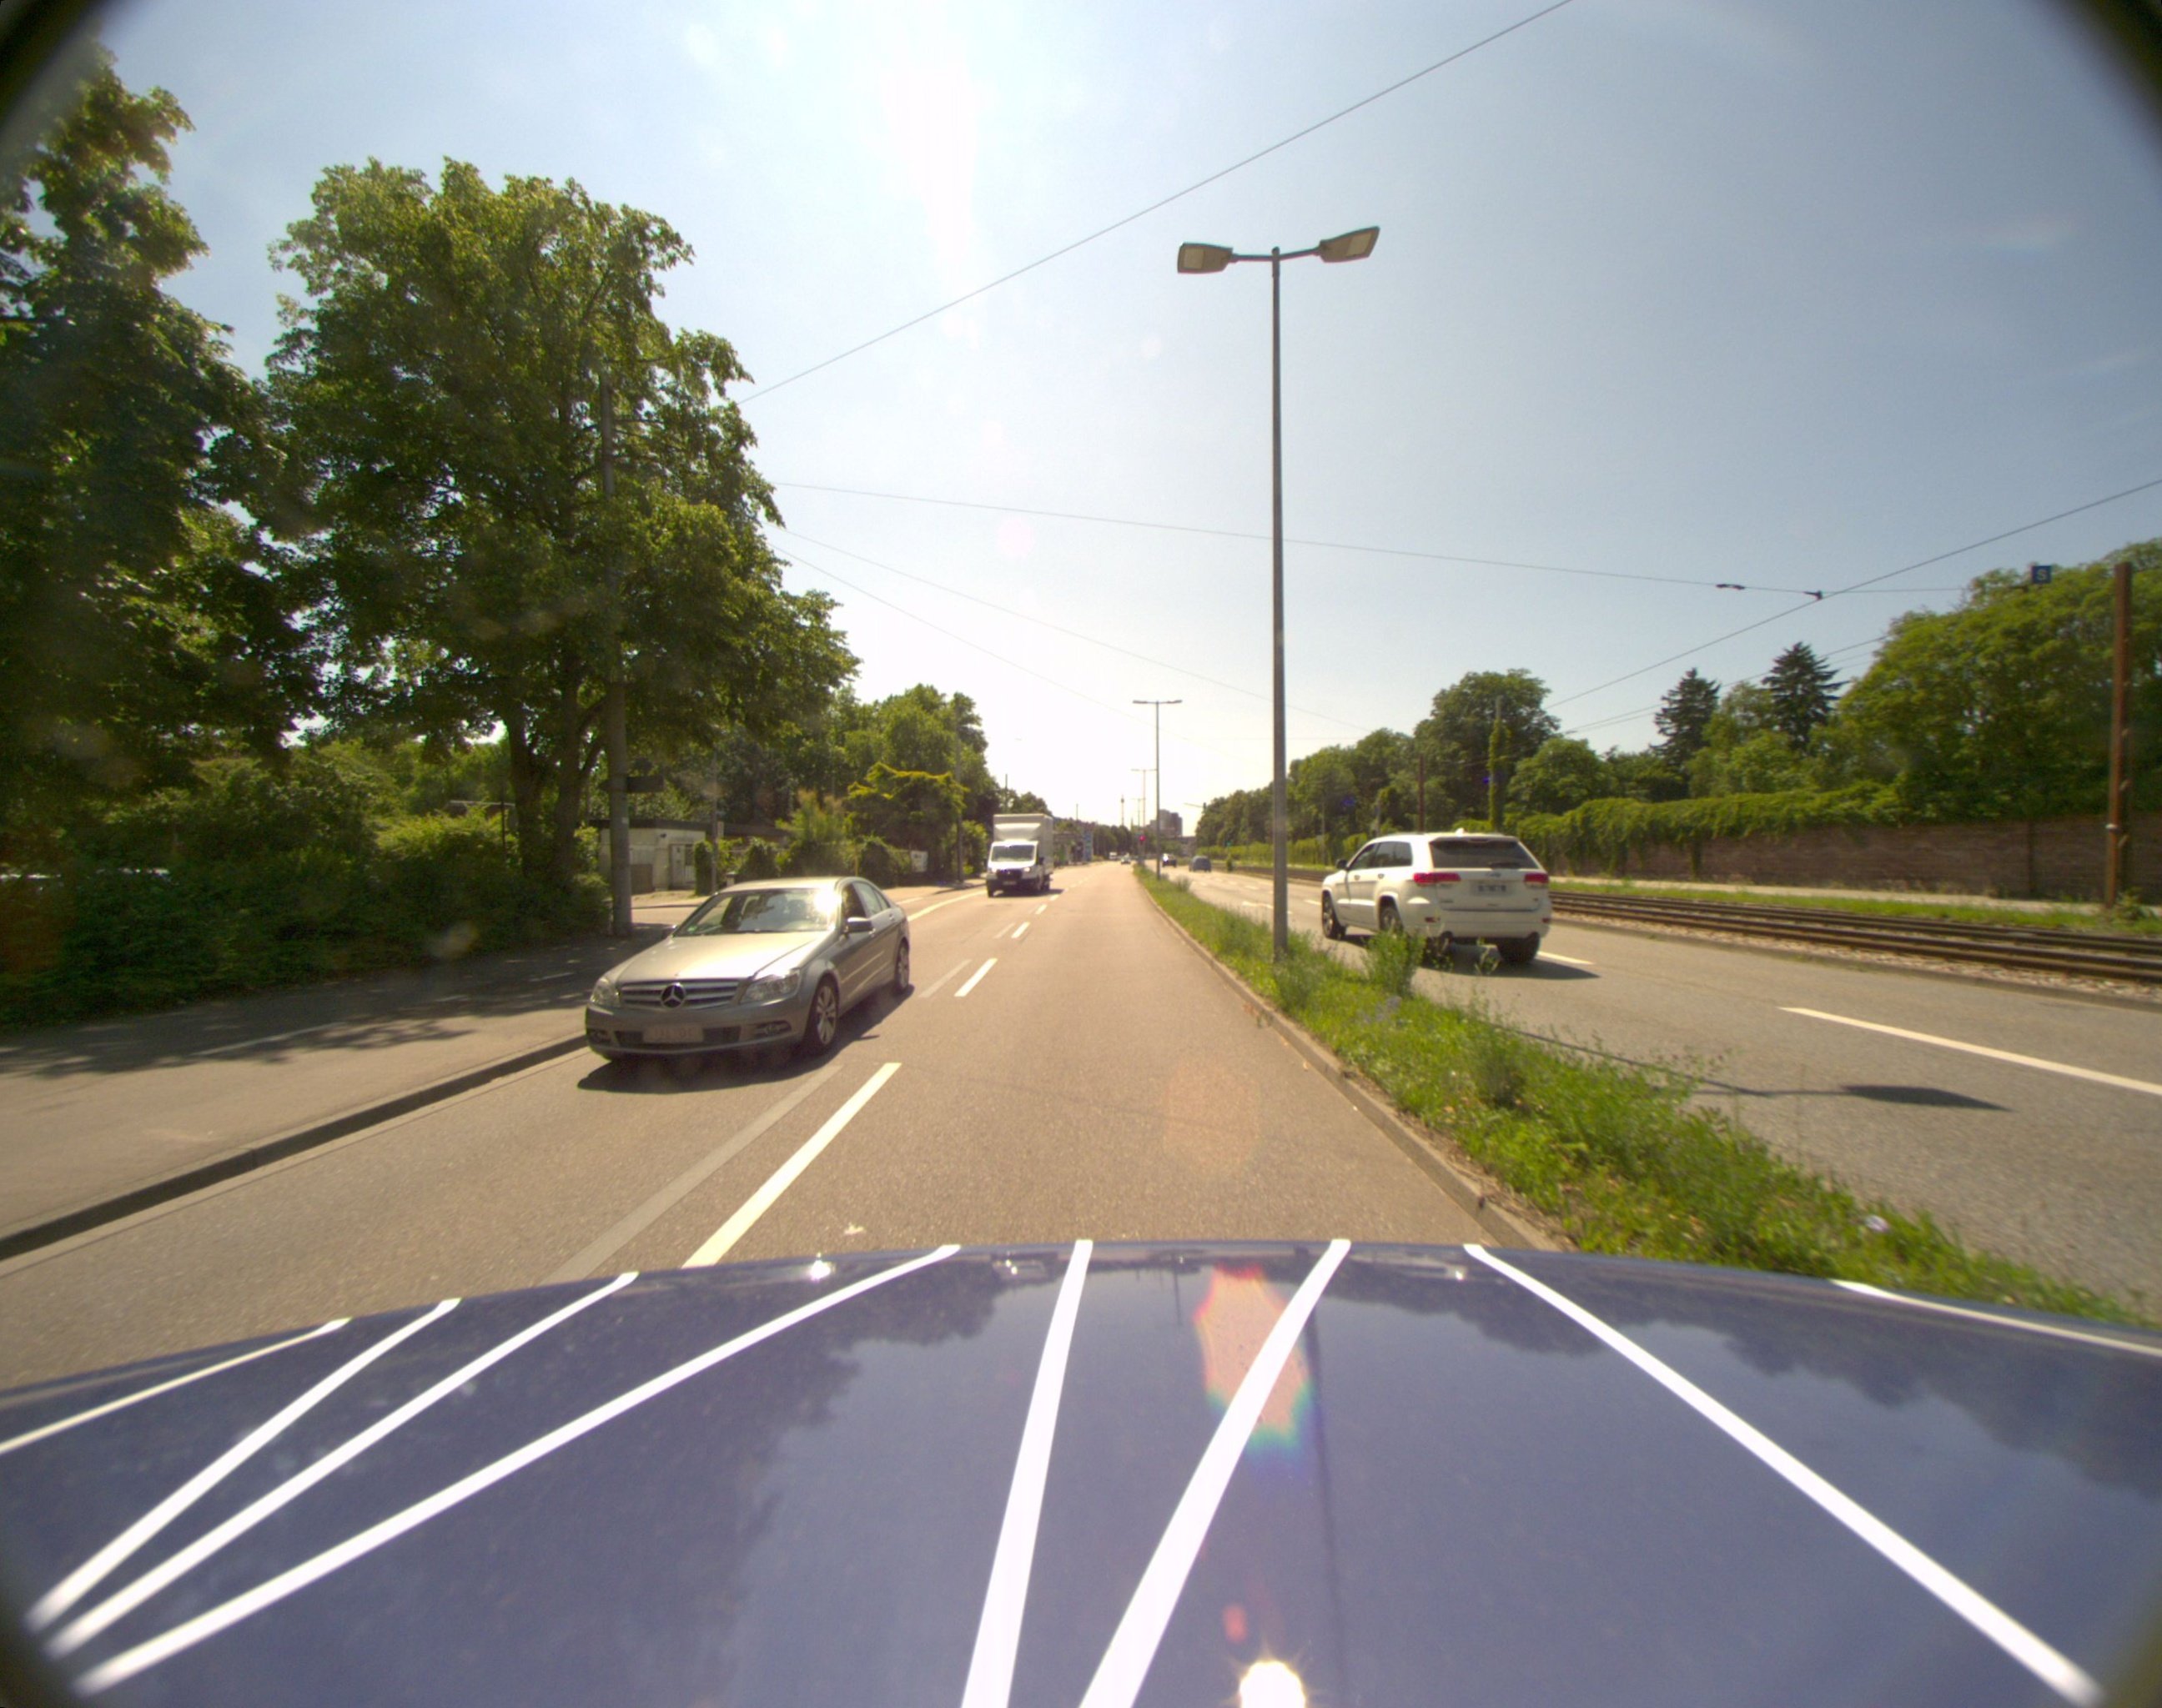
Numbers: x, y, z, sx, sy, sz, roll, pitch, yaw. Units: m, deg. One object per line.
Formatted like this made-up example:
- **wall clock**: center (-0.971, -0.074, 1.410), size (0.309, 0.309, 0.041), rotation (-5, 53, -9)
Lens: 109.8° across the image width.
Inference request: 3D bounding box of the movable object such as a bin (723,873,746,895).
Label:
- **movable object such as a bin**: center (-14.547, 1.263, 31.922), size (0.630, 0.898, 0.637), rotation (-1, 1, 4)

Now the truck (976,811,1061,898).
- **truck**: center (-2.480, -0.024, 32.876), size (2.293, 3.259, 8.313), rotation (-1, 1, 4)

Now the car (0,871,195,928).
- **car**: center (-29.173, 1.338, 22.568), size (3.995, 1.531, 1.726), rotation (-1, 1, 6)

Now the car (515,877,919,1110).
- **car**: center (-3.011, 1.056, 7.383), size (1.903, 1.451, 3.971), rotation (-2, 0, 1)

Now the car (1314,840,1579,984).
- **car**: center (5.166, 0.711, 11.580), size (1.905, 1.738, 4.588), rotation (1, 0, 1)

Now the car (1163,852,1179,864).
- **car**: center (11.677, 0.467, 98.857), size (1.765, 1.512, 4.097), rotation (1, 0, 2)

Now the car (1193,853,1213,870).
- **car**: center (11.210, 0.684, 69.899), size (1.698, 1.462, 3.793), rotation (0, 0, 7)

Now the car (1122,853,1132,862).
- **car**: center (8.438, 0.611, 139.763), size (1.828, 1.556, 4.001), rotation (-1, 0, 4)
